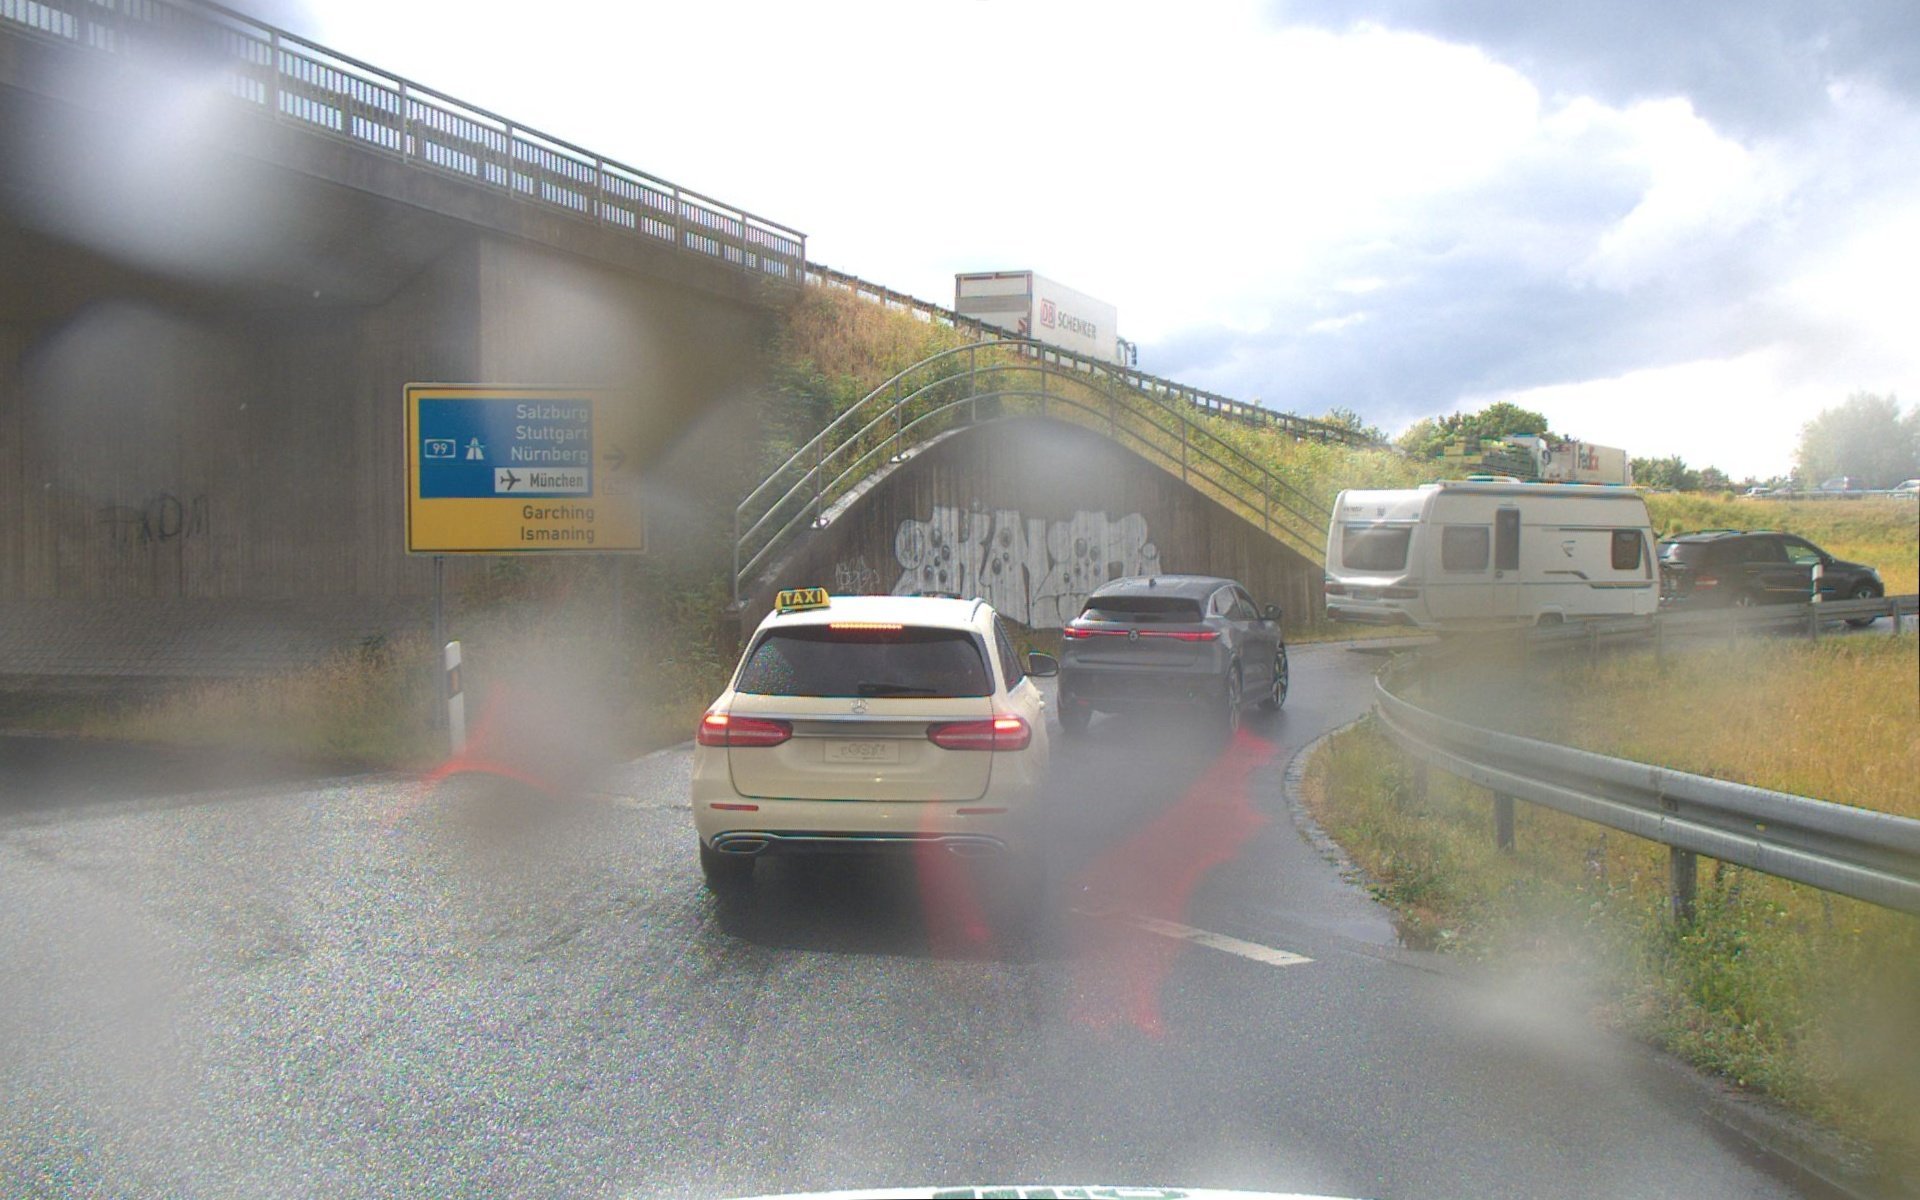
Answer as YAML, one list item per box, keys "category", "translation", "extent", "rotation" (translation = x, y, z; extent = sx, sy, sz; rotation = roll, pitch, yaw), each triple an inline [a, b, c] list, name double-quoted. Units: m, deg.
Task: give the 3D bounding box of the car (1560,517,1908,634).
- category: "car"
  translation: [13.908, -0.489, 29.761]
  extent: [5.657, 1.959, 2.422]
  rotation: [-1, 2, -20]

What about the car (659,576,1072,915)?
- category: "car"
  translation: [-0.362, 0.653, 9.803]
  extent: [1.876, 1.534, 4.597]
  rotation: [0, 0, 2]

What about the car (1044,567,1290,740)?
- category: "car"
  translation: [2.281, 0.446, 17.284]
  extent: [1.682, 1.551, 4.001]
  rotation: [1, 2, 20]

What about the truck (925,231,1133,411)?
- category: "truck"
  translation: [2.372, -8.392, 51.338]
  extent: [3.117, 4.035, 9.230]
  rotation: [1, 1, 25]

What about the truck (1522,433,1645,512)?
- category: "truck"
  translation: [47.174, -9.411, 124.523]
  extent: [4.383, 4.581, 19.316]
  rotation: [1, 1, 34]

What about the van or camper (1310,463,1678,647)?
- category: "van or camper"
  translation: [8.877, -0.785, 27.404]
  extent: [5.914, 2.776, 2.416]
  rotation: [-1, 3, -28]

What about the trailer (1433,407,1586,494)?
- category: "trailer"
  translation: [36.341, -9.566, 108.381]
  extent: [4.336, 4.024, 20.155]
  rotation: [1, 1, 34]
